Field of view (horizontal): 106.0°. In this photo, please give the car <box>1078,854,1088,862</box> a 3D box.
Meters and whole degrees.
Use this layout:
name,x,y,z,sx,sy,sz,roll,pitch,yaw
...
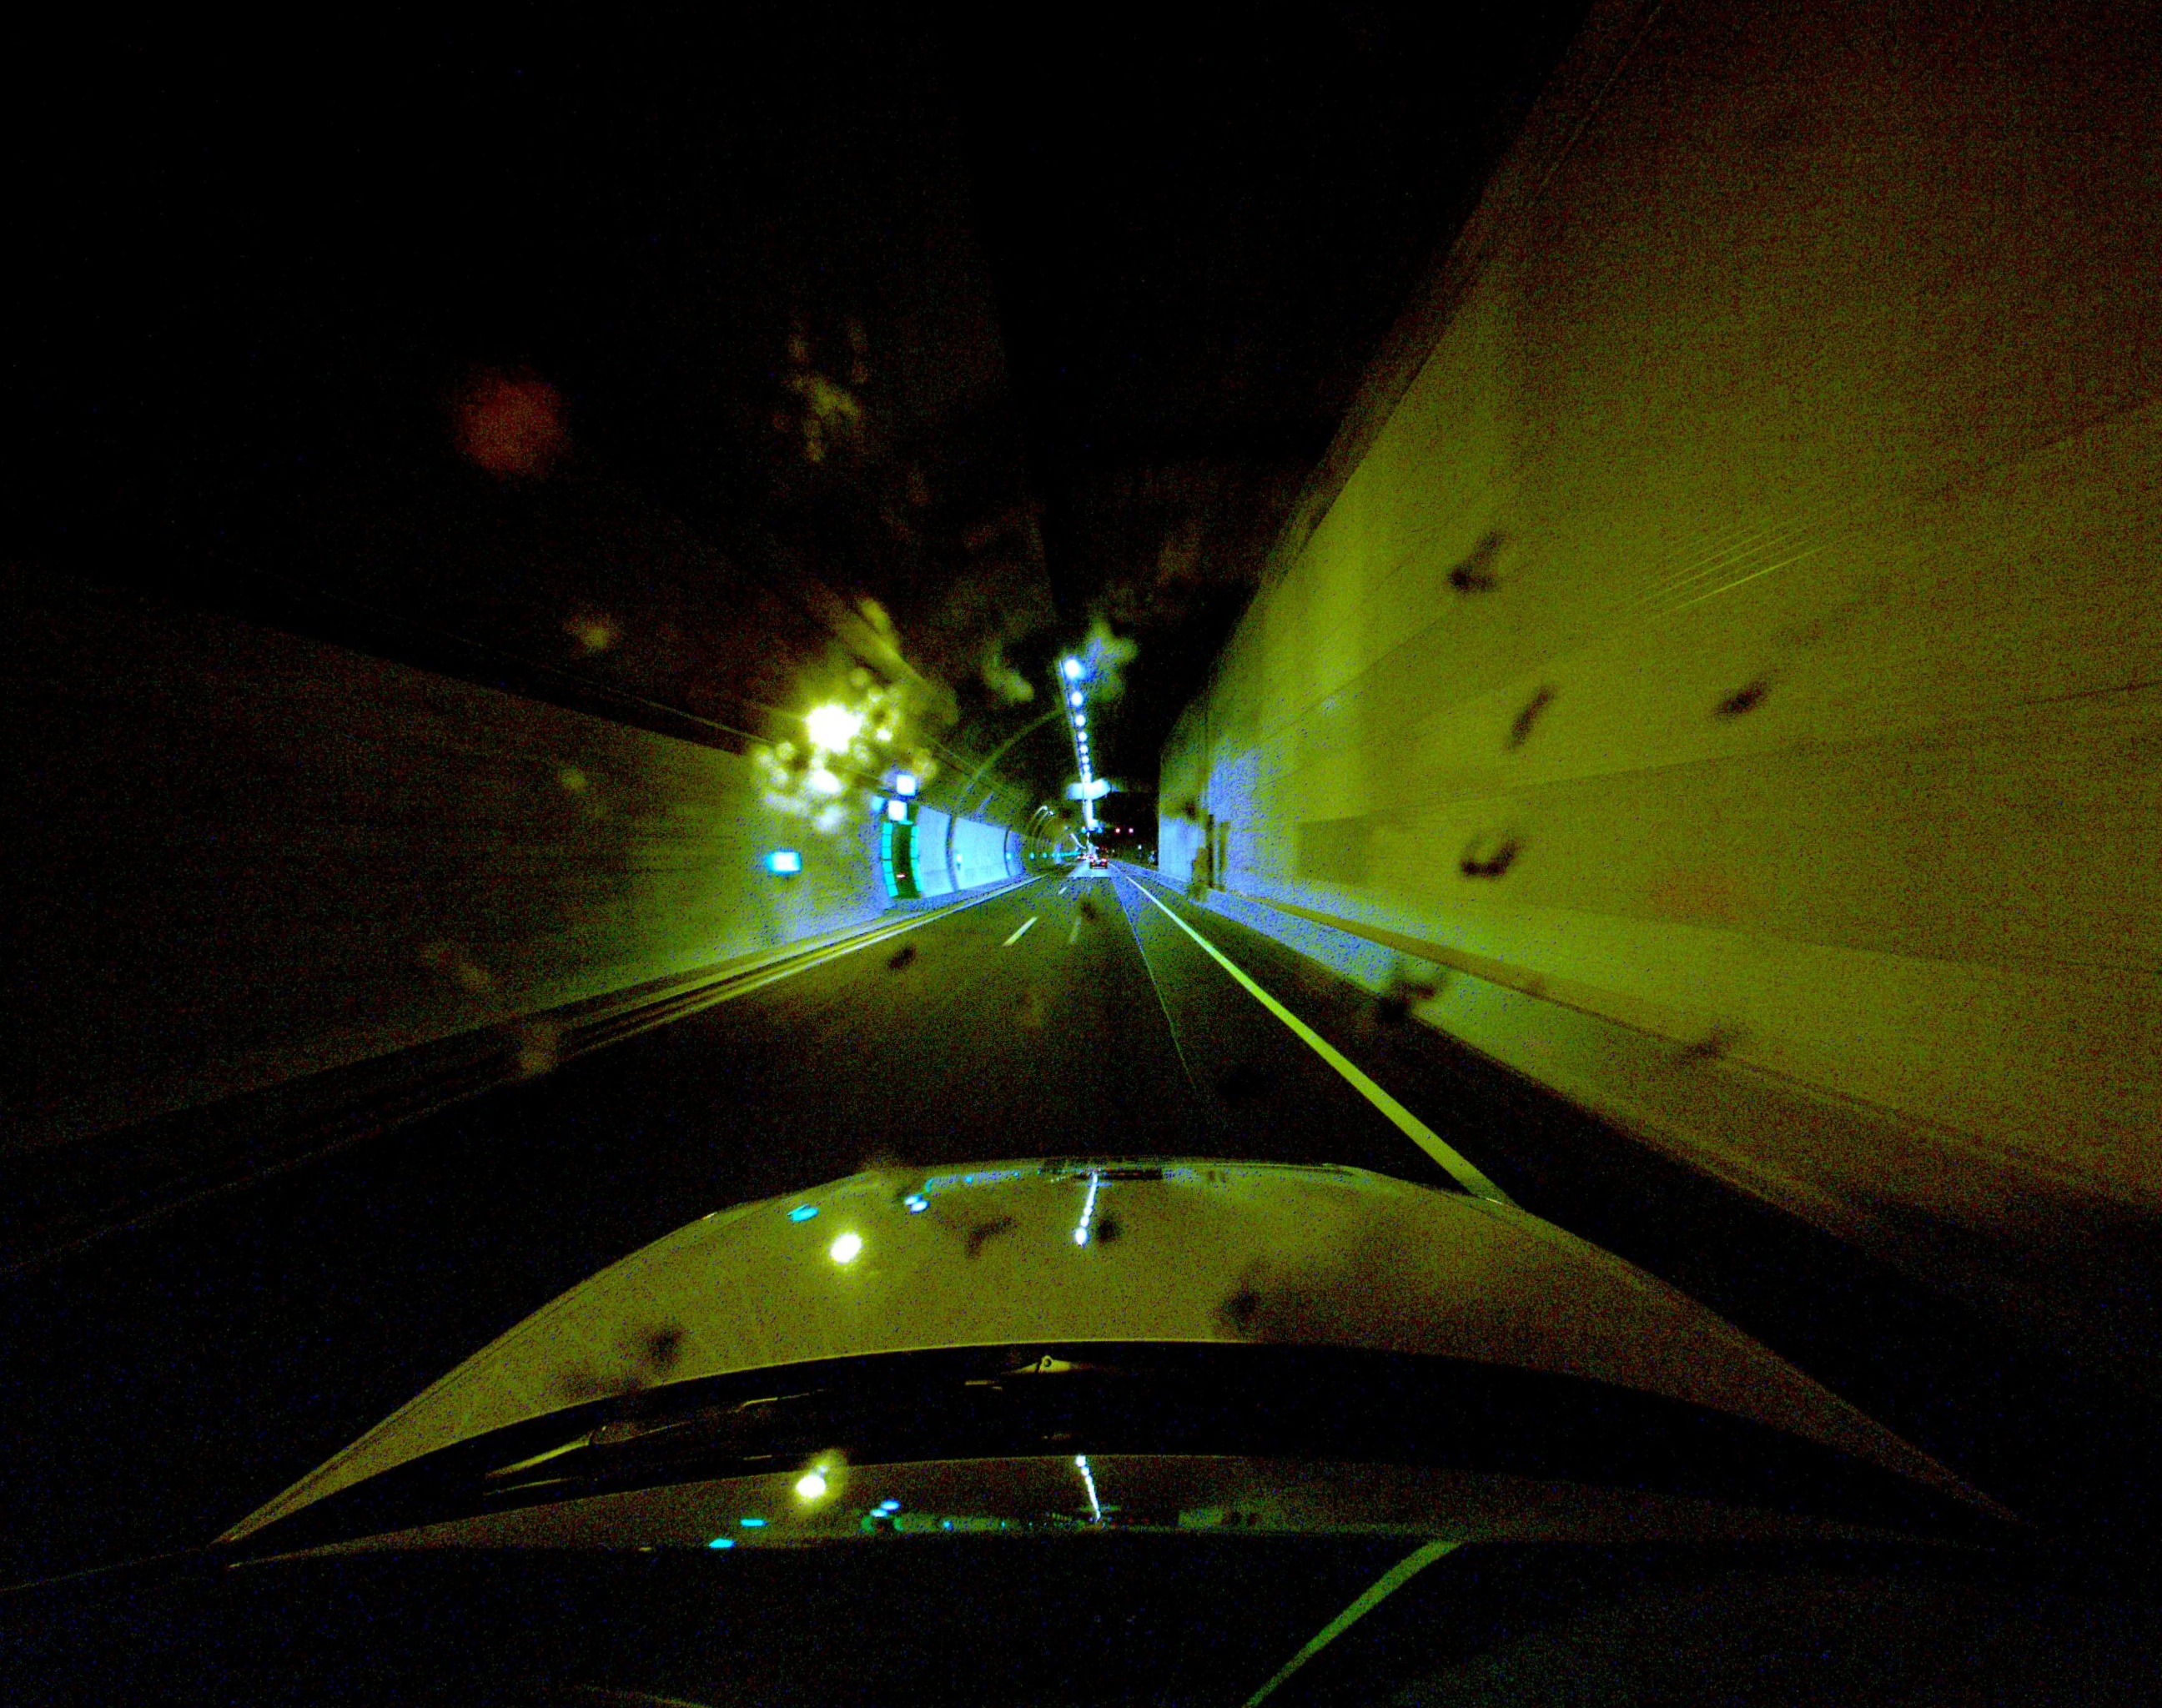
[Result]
name,x,y,z,sx,sy,sz,roll,pitch,yaw
car,0.460,0.776,177.441,1.923,1.687,4.002,-1,0,2

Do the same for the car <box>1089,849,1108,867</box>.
name,x,y,z,sx,sy,sz,roll,pitch,yaw
car,1.864,0.449,85.912,1.940,1.794,4.001,-1,0,1

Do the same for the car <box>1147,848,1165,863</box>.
name,x,y,z,sx,sy,sz,roll,pitch,yaw
car,9.906,0.240,107.850,1.747,1.845,4.639,-2,0,-4
